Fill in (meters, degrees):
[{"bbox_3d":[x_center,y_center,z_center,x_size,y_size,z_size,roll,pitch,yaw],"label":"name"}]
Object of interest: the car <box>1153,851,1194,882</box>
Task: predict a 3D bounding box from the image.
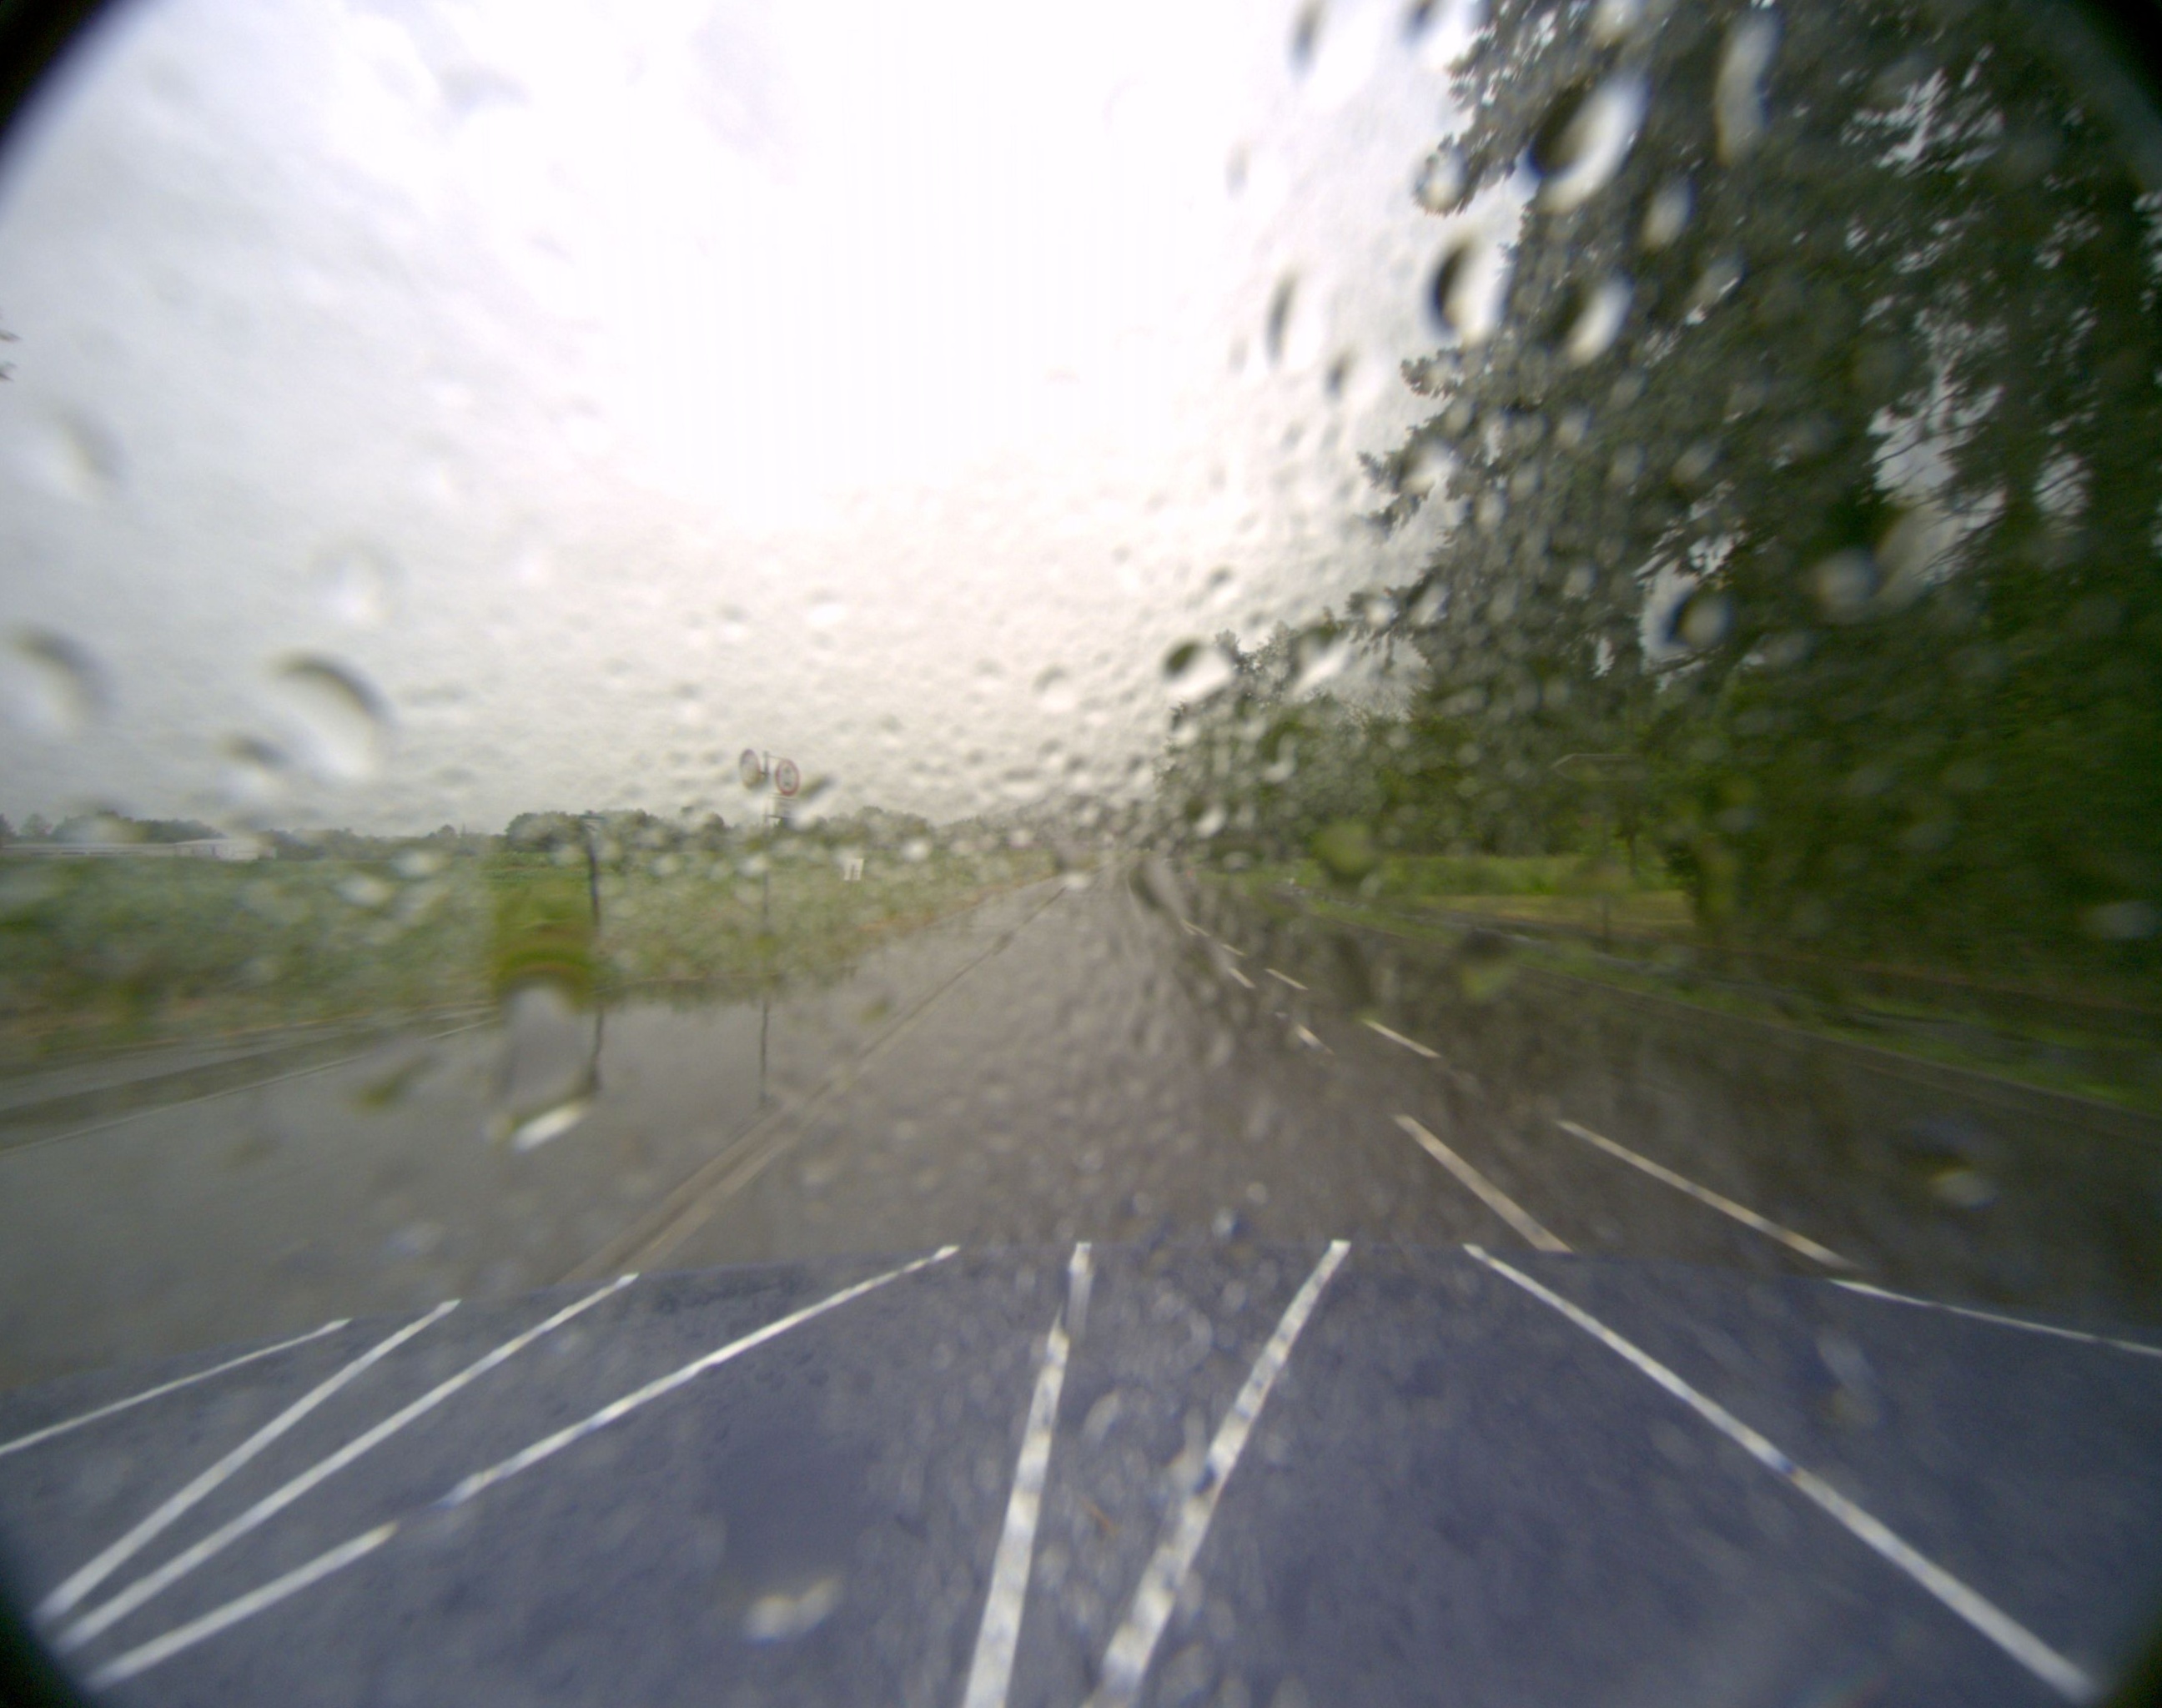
[{"bbox_3d":[4.852,0.669,40.246,1.764,1.543,4.001,0,-1,2],"label":"car"}]
